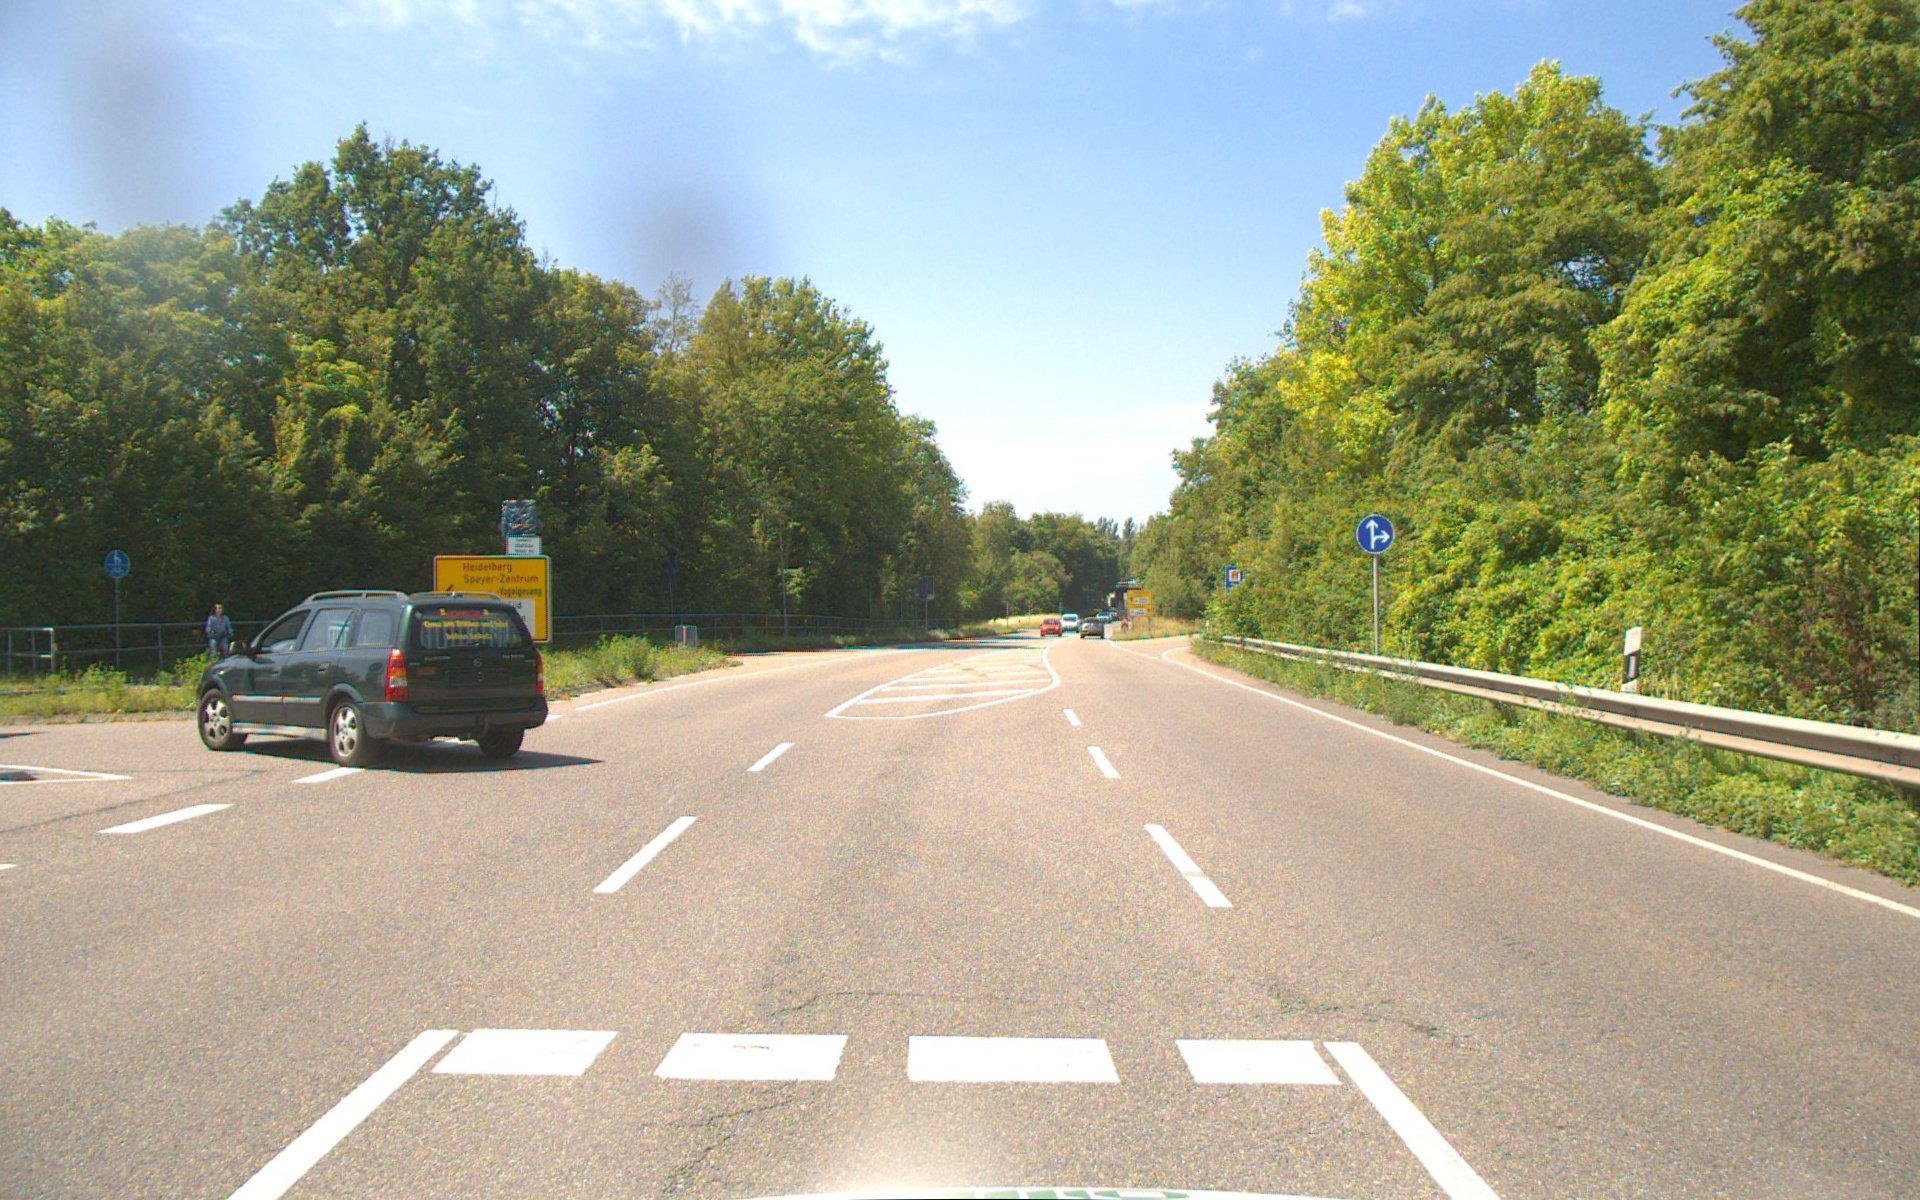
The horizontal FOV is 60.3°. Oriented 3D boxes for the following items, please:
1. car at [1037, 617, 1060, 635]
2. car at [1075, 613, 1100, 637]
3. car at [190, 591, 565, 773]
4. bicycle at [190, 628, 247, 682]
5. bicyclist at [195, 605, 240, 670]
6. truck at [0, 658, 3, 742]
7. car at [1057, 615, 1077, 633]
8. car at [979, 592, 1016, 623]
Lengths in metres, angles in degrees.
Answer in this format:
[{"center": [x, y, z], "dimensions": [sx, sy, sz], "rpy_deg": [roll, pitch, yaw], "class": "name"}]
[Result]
[{"center": [7.277, 2.119, 135.532], "dimensions": [1.772, 1.483, 3.760], "rpy_deg": [1, 0, 5], "class": "car"}, {"center": [9.555, 1.880, 123.879], "dimensions": [1.805, 1.714, 4.002], "rpy_deg": [0, 0, 3], "class": "car"}, {"center": [-5.464, 0.669, 15.335], "dimensions": [3.729, 1.482, 1.716], "rpy_deg": [0, 0, 42], "class": "car"}, {"center": [-16.015, 1.179, 35.690], "dimensions": [1.451, 1.133, 0.435], "rpy_deg": [-1, 0, 35], "class": "bicycle"}, {"center": [-16.025, 0.801, 35.683], "dimensions": [0.596, 1.387, 0.687], "rpy_deg": [0, 0, 34], "class": "bicyclist"}, {"center": [-14.396, 0.472, 18.336], "dimensions": [6.477, 2.610, 2.147], "rpy_deg": [-3, -1, 7], "class": "truck"}, {"center": [10.648, 2.389, 164.069], "dimensions": [1.952, 1.760, 4.276], "rpy_deg": [0, 0, 3], "class": "car"}, {"center": [4.018, 0.790, 180.351], "dimensions": [1.971, 3.282, 4.764], "rpy_deg": [0, 0, -28], "class": "car"}]
